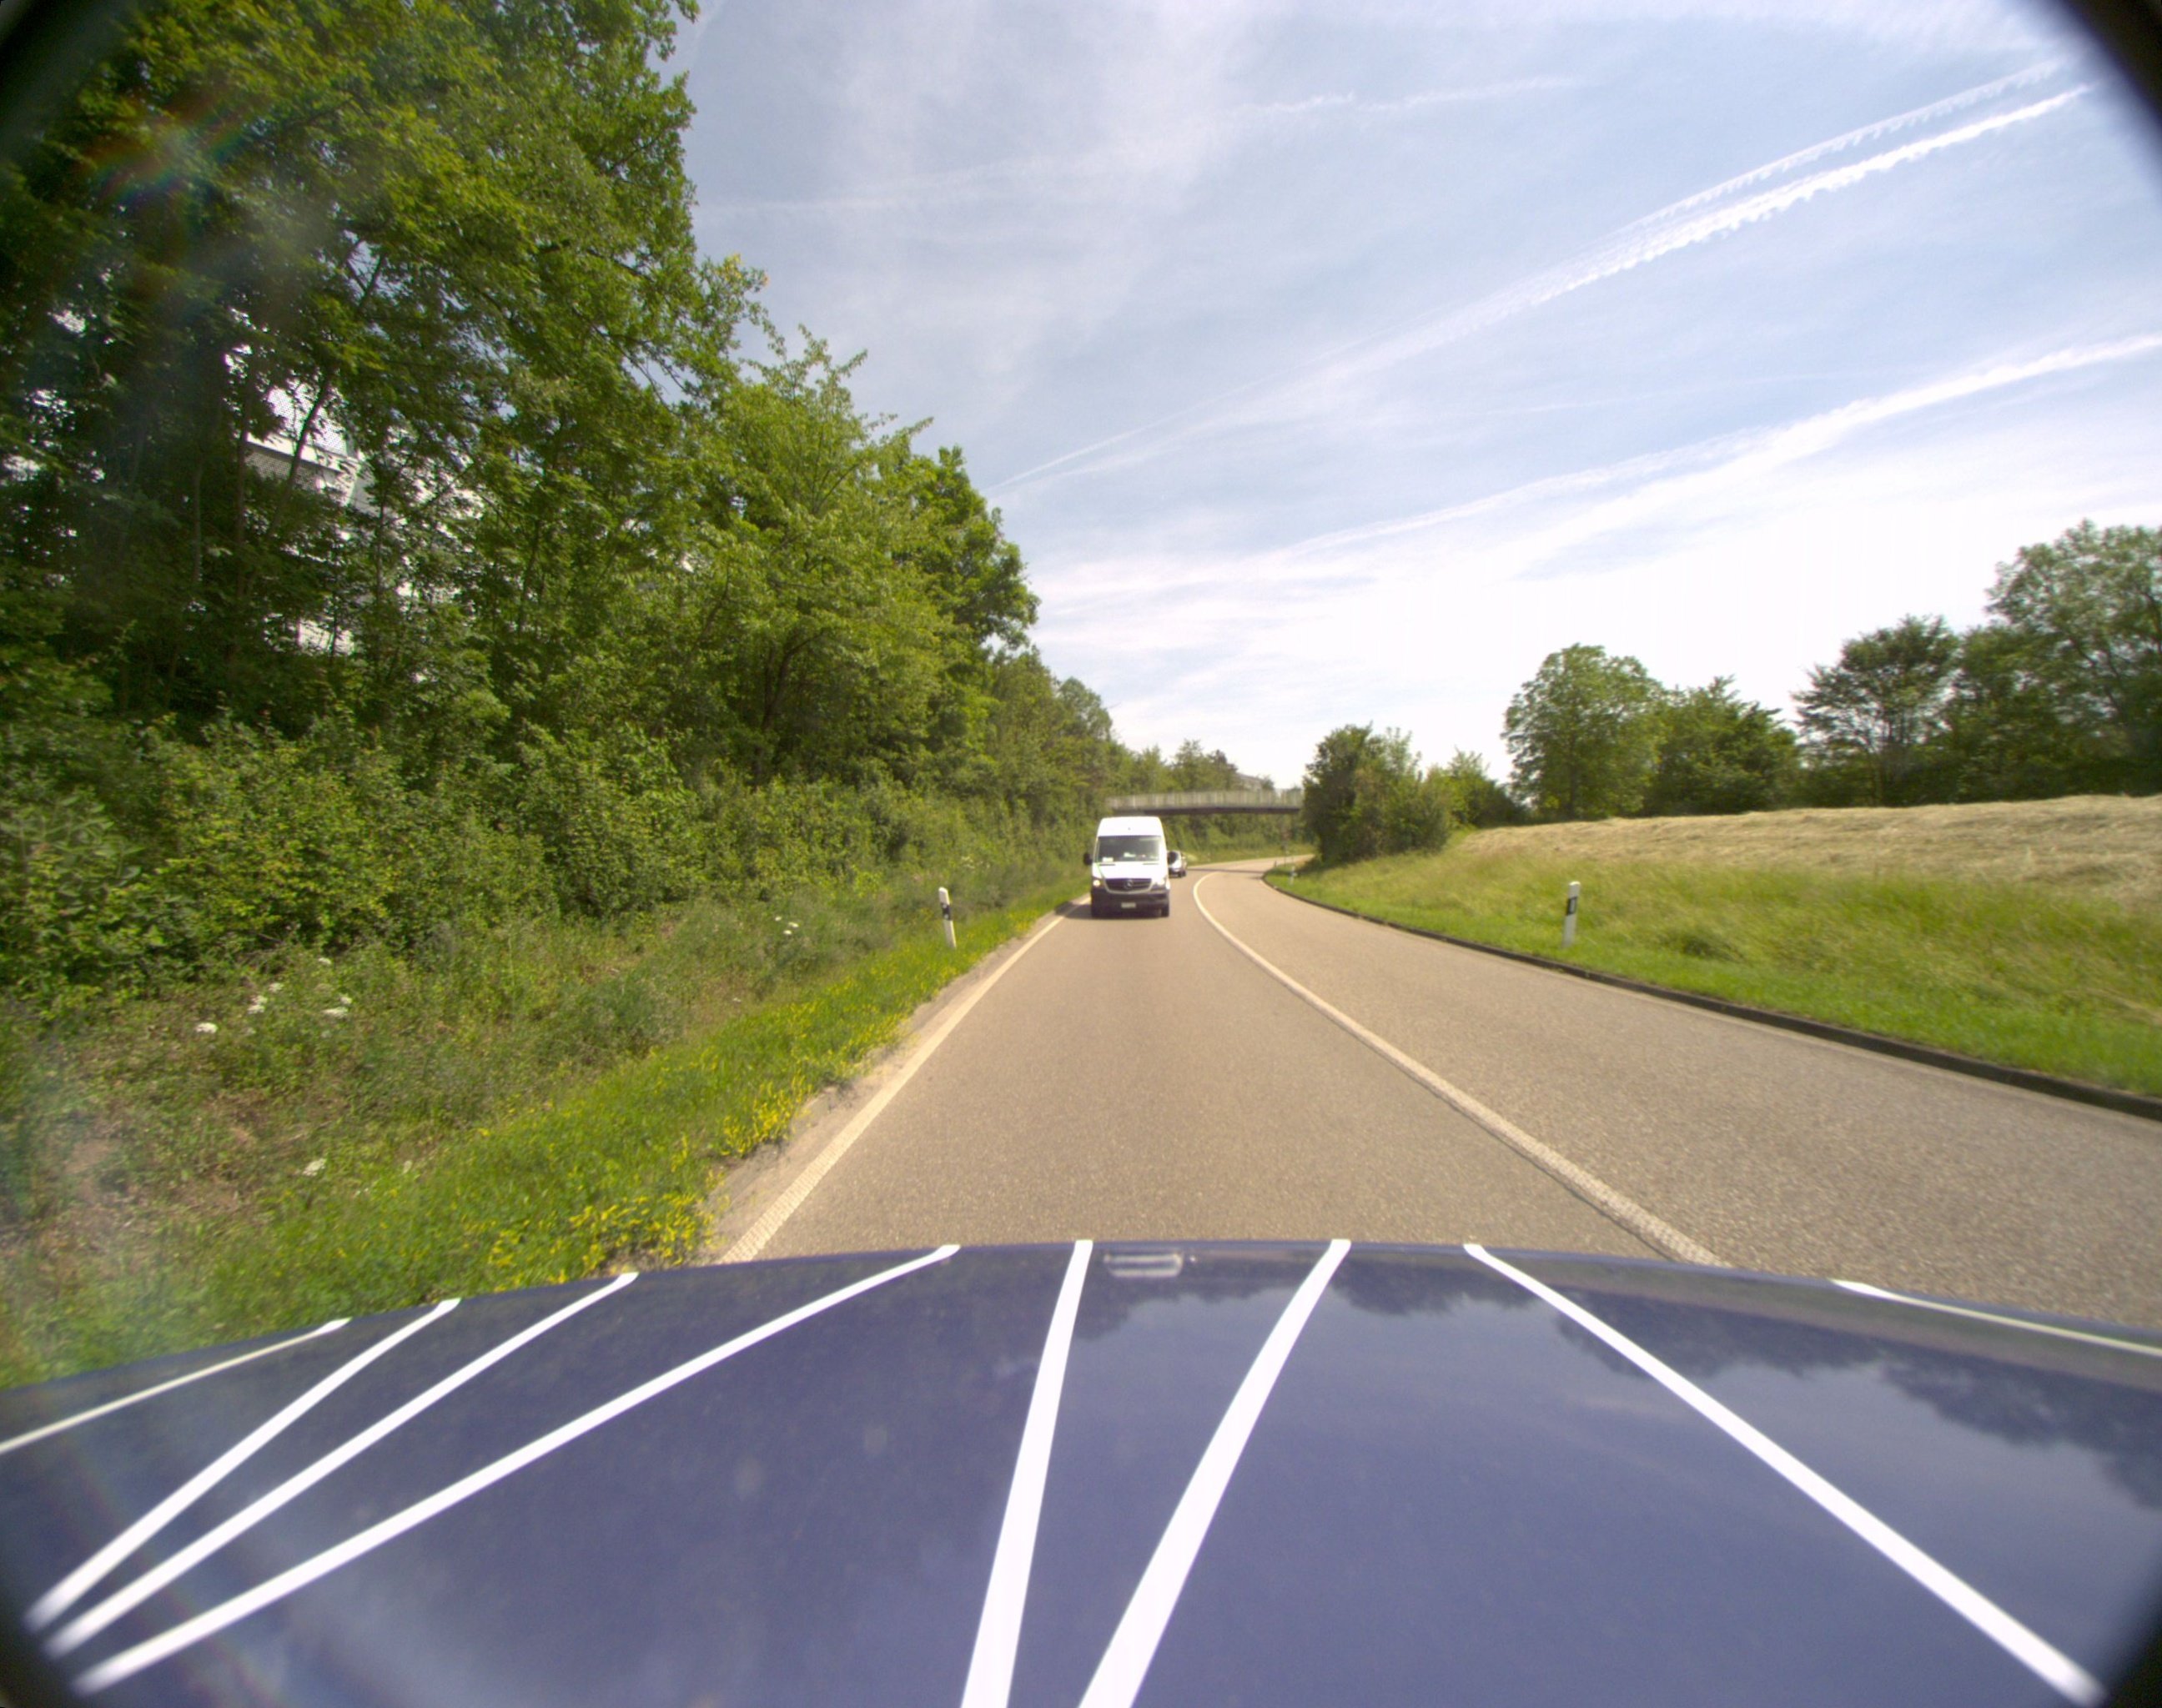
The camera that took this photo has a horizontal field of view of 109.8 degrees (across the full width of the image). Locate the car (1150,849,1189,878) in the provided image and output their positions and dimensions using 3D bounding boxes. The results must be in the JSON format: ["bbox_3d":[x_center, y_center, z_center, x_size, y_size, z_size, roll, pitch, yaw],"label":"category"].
[{"bbox_3d":[5.644,0.544,48.140,1.847,1.698,4.093,0,1,15],"label":"car"}]

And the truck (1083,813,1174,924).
[{"bbox_3d":[1.448,0.348,20.669,1.997,2.571,5.891,-1,0,8],"label":"truck"}]
